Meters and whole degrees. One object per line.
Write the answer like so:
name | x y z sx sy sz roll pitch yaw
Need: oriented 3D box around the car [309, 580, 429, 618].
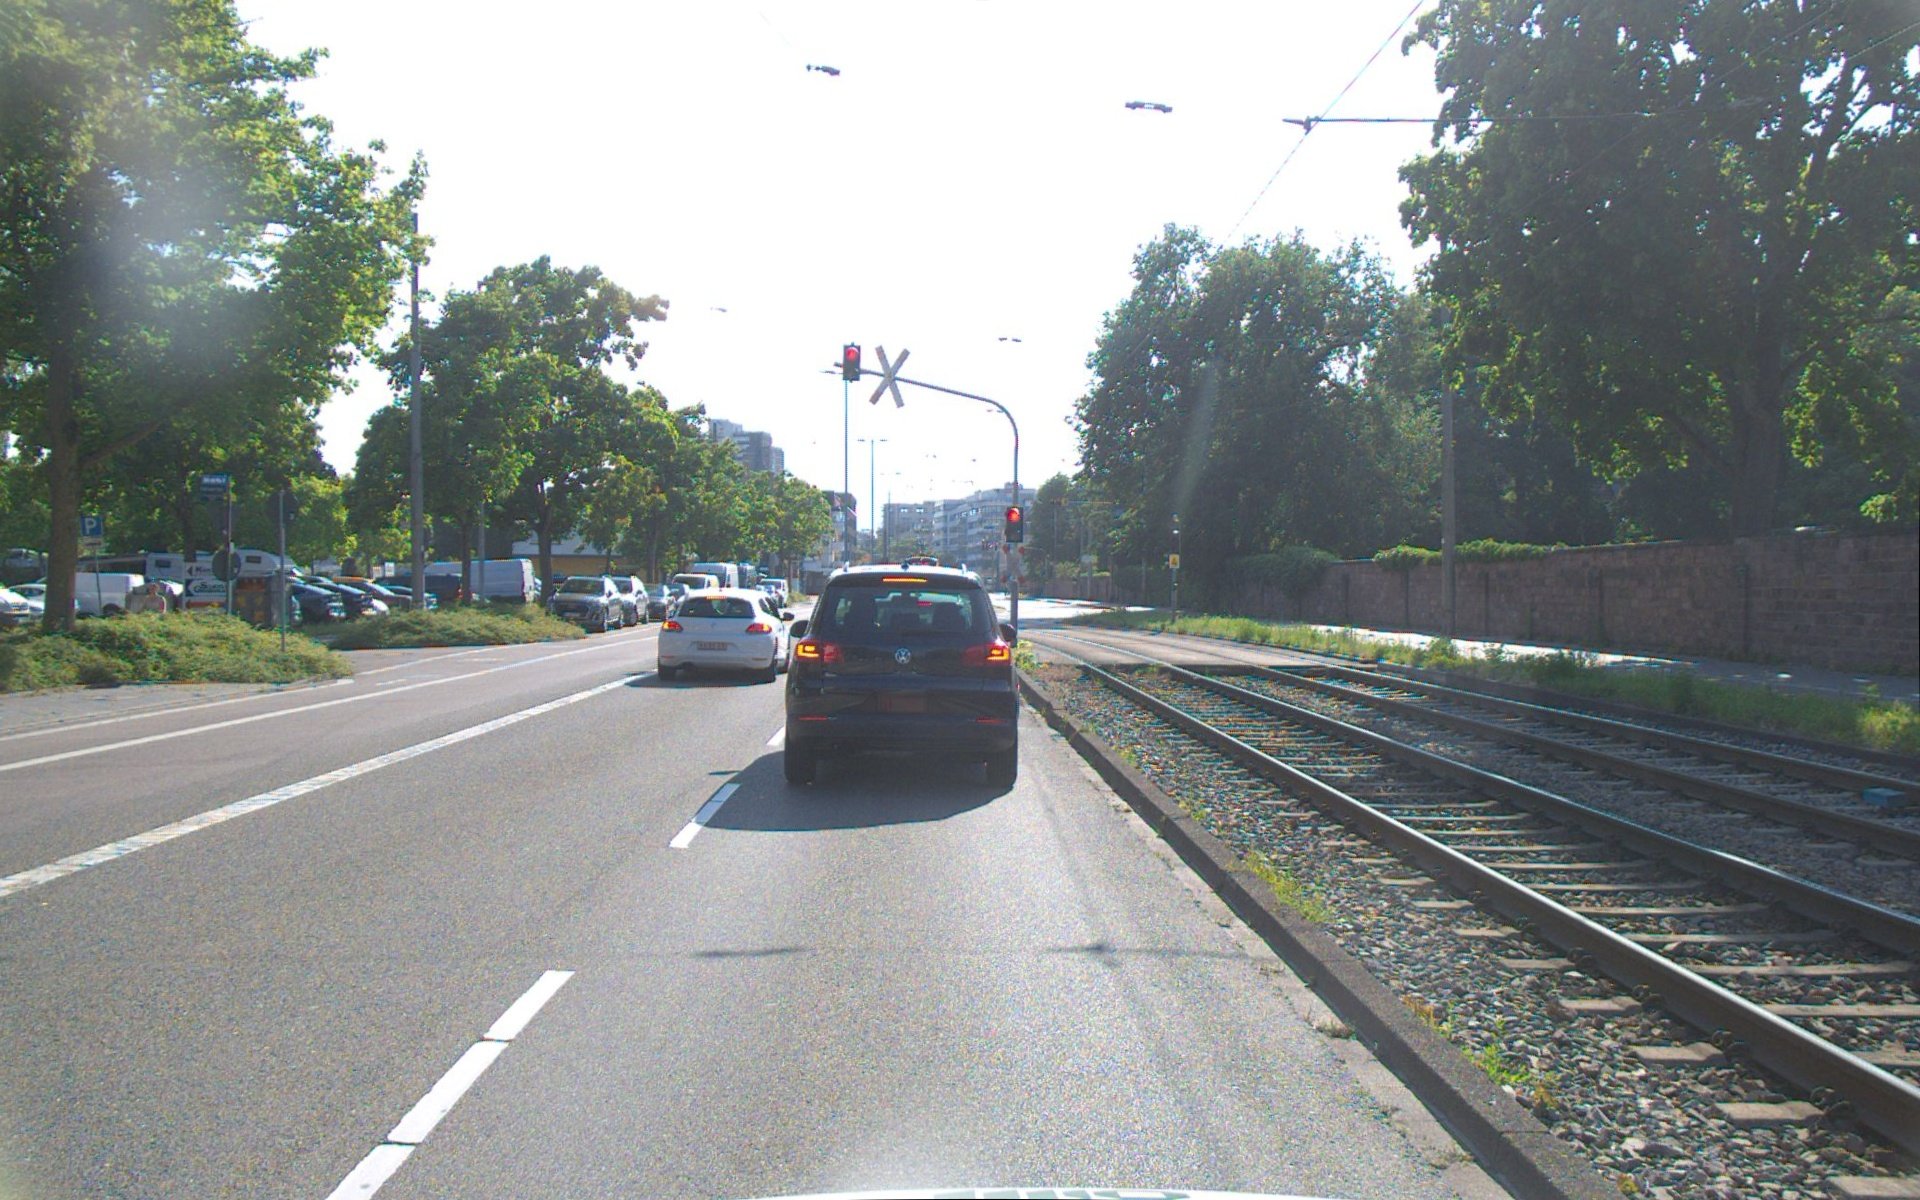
car | -22.194 -0.053 62.229 3.909 1.422 1.736 0 1 -5

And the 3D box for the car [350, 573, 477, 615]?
car | -22.293 -0.243 67.583 4.526 1.680 2.048 0 1 -3

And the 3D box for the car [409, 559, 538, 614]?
car | -22.174 -0.637 75.595 5.266 2.466 2.087 0 1 -1

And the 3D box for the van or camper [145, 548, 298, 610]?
van or camper | -35.653 -1.008 79.965 6.332 2.918 2.307 0 0 -1

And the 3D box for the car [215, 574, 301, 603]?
car | -35.251 -0.566 83.146 3.591 1.422 1.736 0 1 -5

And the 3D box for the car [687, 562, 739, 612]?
car | -12.308 -0.671 82.685 1.825 2.388 4.985 0 1 0

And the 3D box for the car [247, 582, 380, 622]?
car | -22.190 0.043 56.856 3.909 1.330 1.736 0 1 -5

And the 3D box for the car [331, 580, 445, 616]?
car | -22.525 -0.091 65.189 3.909 1.422 1.736 0 1 -5

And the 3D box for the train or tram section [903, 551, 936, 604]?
train or tram section | -2.896 -1.596 118.672 2.279 3.632 8.898 0 1 -1

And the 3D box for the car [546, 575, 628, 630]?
car | -11.900 0.053 53.023 1.696 1.686 4.000 0 1 0

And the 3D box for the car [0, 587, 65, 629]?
car | -34.846 0.269 59.902 3.909 1.483 1.736 0 1 -5

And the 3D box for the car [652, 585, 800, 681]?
car | -3.628 0.471 26.271 1.827 1.371 3.999 1 1 -1

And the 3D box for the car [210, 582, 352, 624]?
car | -22.183 0.093 54.137 3.909 1.330 1.736 0 1 -5

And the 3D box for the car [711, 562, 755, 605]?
car | -12.243 -0.899 89.514 1.696 2.308 4.645 0 1 0

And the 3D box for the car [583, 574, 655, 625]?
car | -12.037 -0.064 58.577 1.696 1.724 4.000 0 1 0

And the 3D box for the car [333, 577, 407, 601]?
car | -35.738 -0.671 100.224 3.909 1.422 1.736 0 1 -5

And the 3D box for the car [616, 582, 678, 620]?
car | -12.239 0.004 64.811 1.696 1.413 3.735 0 1 0

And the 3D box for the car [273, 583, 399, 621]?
car | -22.606 0.061 60.005 3.909 1.330 1.736 0 1 -5

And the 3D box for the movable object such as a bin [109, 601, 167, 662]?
movable object such as a bin | -16.294 0.610 32.812 0.531 1.166 1.261 0 1 -1

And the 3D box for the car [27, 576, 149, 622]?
car | -34.235 -0.064 65.016 3.912 1.758 1.624 0 1 -8

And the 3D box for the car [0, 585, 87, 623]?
car | -35.417 0.149 62.641 3.903 1.384 1.628 0 1 4

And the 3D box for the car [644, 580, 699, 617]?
car | -12.308 -0.086 70.693 1.696 1.475 3.735 0 1 0

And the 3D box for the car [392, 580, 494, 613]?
car | -22.513 -0.171 72.109 3.909 1.422 1.736 0 1 -5

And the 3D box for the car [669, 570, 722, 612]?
car | -12.107 -0.424 76.016 1.696 1.892 4.489 0 1 0

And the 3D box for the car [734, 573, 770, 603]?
car | -12.700 -0.751 101.153 1.696 1.724 4.000 0 1 0

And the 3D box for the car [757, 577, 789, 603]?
car | -12.701 -0.709 112.450 1.696 1.724 4.000 0 1 0

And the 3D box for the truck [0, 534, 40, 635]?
truck | -34.566 -0.502 54.876 6.823 3.298 1.986 0 1 -3

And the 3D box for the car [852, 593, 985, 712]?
car | -0.545 0.635 22.309 1.635 1.411 3.999 0 1 -1

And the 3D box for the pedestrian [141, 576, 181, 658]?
pedestrian | -16.303 0.348 33.744 0.514 1.656 0.610 0 0 -1

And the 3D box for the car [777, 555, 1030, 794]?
car | -0.435 0.518 13.765 1.774 1.673 3.999 1 0 -1
